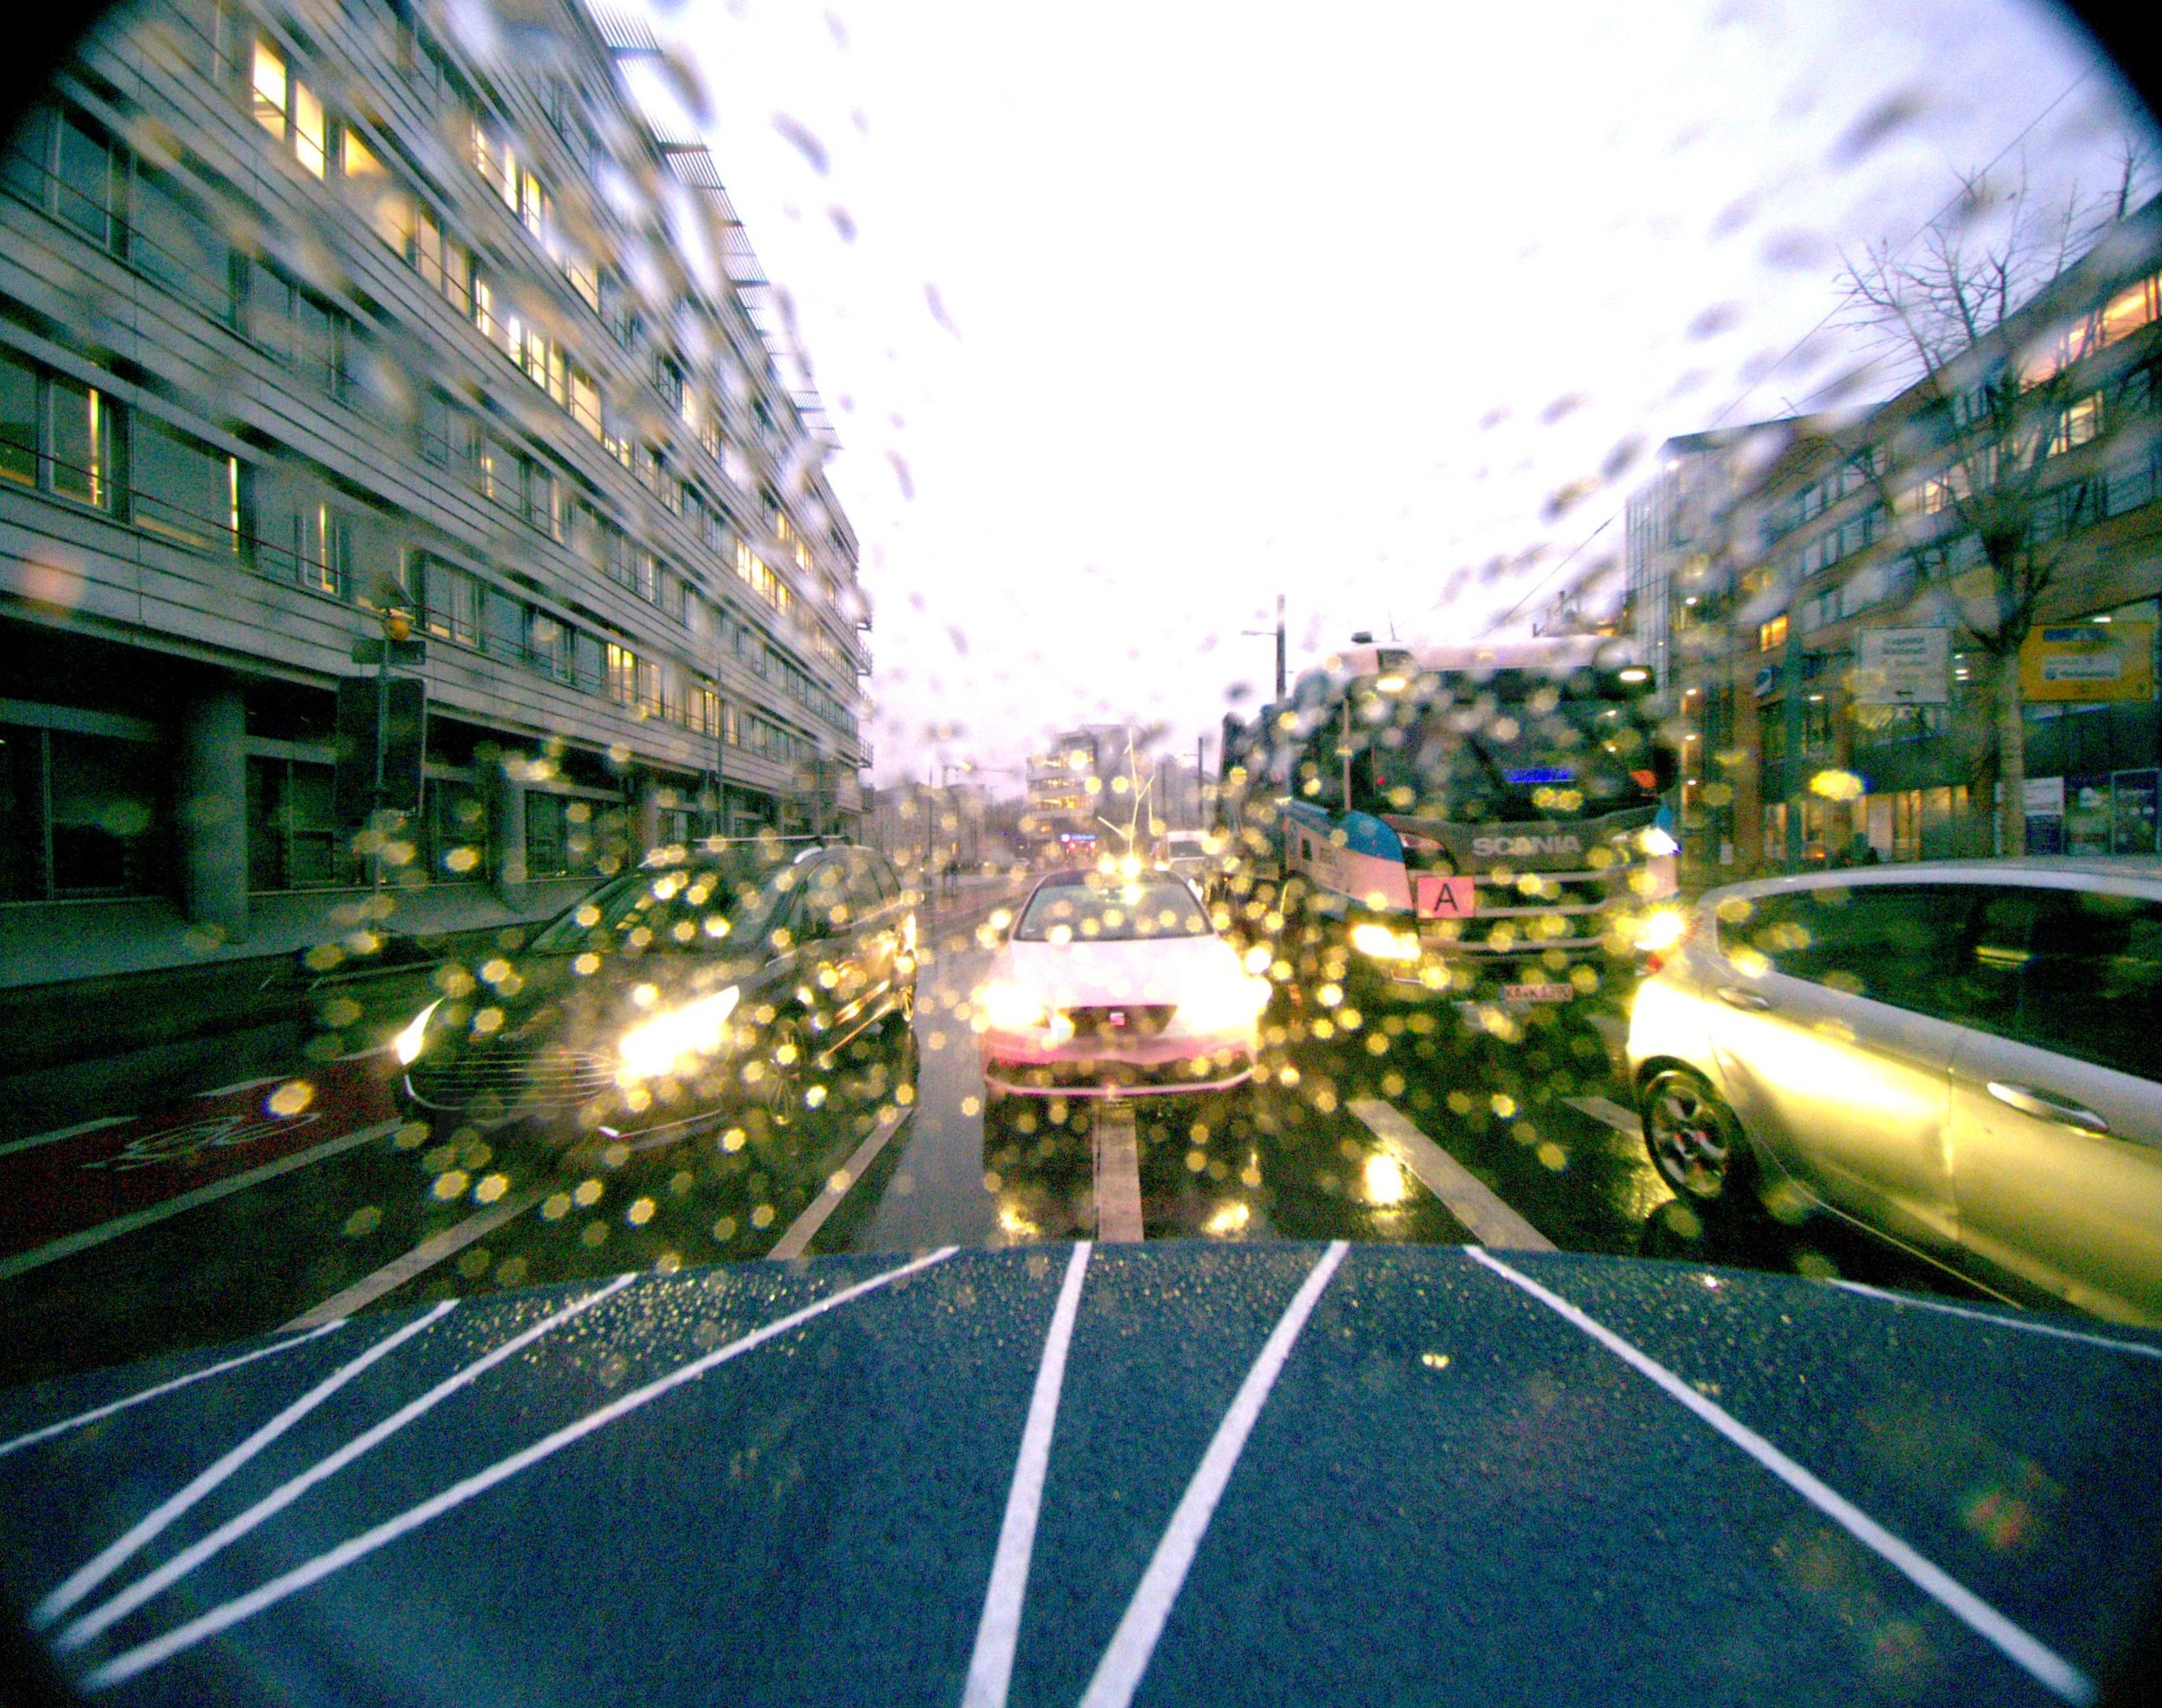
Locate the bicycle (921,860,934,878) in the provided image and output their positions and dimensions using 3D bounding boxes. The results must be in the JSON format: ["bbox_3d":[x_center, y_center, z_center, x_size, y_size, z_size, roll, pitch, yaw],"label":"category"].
[{"bbox_3d":[-10.822,1.068,53.693,0.681,1.191,1.760,-1,0,-4],"label":"bicycle"}]

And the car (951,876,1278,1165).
[{"bbox_3d":[0.211,0.978,6.168,1.782,1.464,3.943,-1,0,1],"label":"car"}]

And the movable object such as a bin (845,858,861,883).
[{"bbox_3d":[-13.264,0.970,44.187,0.666,1.420,0.840,-1,1,-2],"label":"movable object such as a bin"}]

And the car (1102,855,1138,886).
[{"bbox_3d":[2.516,1.053,50.008,2.169,1.744,4.540,0,2,0],"label":"car"}]

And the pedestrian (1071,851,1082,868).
[{"bbox_3d":[-0.544,0.621,89.923,1.118,2.002,1.034,0,1,15],"label":"pedestrian"}]

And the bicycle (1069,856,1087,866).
[{"bbox_3d":[-0.422,0.894,94.531,2.204,1.182,0.668,0,1,2],"label":"bicycle"}]

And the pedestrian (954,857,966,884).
[{"bbox_3d":[-7.643,1.039,48.116,0.616,1.659,0.884,1,1,-3],"label":"pedestrian"}]

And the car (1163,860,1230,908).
[{"bbox_3d":[3.629,0.912,24.497,1.759,1.337,4.057,-1,0,3],"label":"car"}]

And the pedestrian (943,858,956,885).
[{"bbox_3d":[-8.333,1.079,48.111,0.651,1.692,0.884,1,1,-3],"label":"pedestrian"}]

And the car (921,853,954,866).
[{"bbox_3d":[-21.424,0.827,113.619,4.368,1.750,2.002,-1,0,17],"label":"car"}]

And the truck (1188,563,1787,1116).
[{"bbox_3d":[3.222,-0.106,8.768,2.846,3.612,7.526,-1,0,0],"label":"truck"}]

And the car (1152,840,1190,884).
[{"bbox_3d":[6.131,0.497,52.523,2.129,2.847,5.814,-1,0,2],"label":"car"}]

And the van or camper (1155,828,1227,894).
[{"bbox_3d":[4.509,0.255,32.163,2.153,2.517,5.898,-1,0,0],"label":"van or camper"}]

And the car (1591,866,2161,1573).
[{"bbox_3d":[3.217,0.840,1.574,1.709,1.439,4.000,-2,1,2],"label":"car"}]

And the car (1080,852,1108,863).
[{"bbox_3d":[2.096,0.568,121.317,3.991,1.759,1.815,-1,0,20],"label":"car"}]

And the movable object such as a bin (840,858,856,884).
[{"bbox_3d":[-13.269,0.955,43.291,0.666,1.420,0.840,-1,1,-2],"label":"movable object such as a bin"}]

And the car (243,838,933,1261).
[{"bbox_3d":[-2.618,0.858,5.651,1.887,1.800,4.671,-2,0,2],"label":"car"}]

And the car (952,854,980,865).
[{"bbox_3d":[-16.947,0.808,112.131,3.759,1.528,1.782,0,0,17],"label":"car"}]

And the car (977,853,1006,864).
[{"bbox_3d":[-13.043,0.653,110.591,3.759,1.528,1.782,0,0,17],"label":"car"}]

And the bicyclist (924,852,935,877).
[{"bbox_3d":[-10.696,0.738,53.634,0.671,1.788,0.806,0,1,-3],"label":"bicyclist"}]

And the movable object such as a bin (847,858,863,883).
[{"bbox_3d":[-13.429,0.974,45.117,0.666,1.468,0.840,-1,1,-2],"label":"movable object such as a bin"}]

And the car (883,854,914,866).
[{"bbox_3d":[-27.864,0.928,115.977,3.996,1.663,2.002,-1,0,17],"label":"car"}]

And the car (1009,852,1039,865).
[{"bbox_3d":[-8.158,0.624,109.399,3.918,1.699,1.782,-1,1,15],"label":"car"}]

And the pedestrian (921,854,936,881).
[{"bbox_3d":[-9.766,0.879,48.650,0.747,1.692,0.969,2,1,-3],"label":"pedestrian"}]

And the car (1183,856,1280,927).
[{"bbox_3d":[3.591,0.837,18.794,1.634,1.515,3.941,-1,1,0],"label":"car"}]
